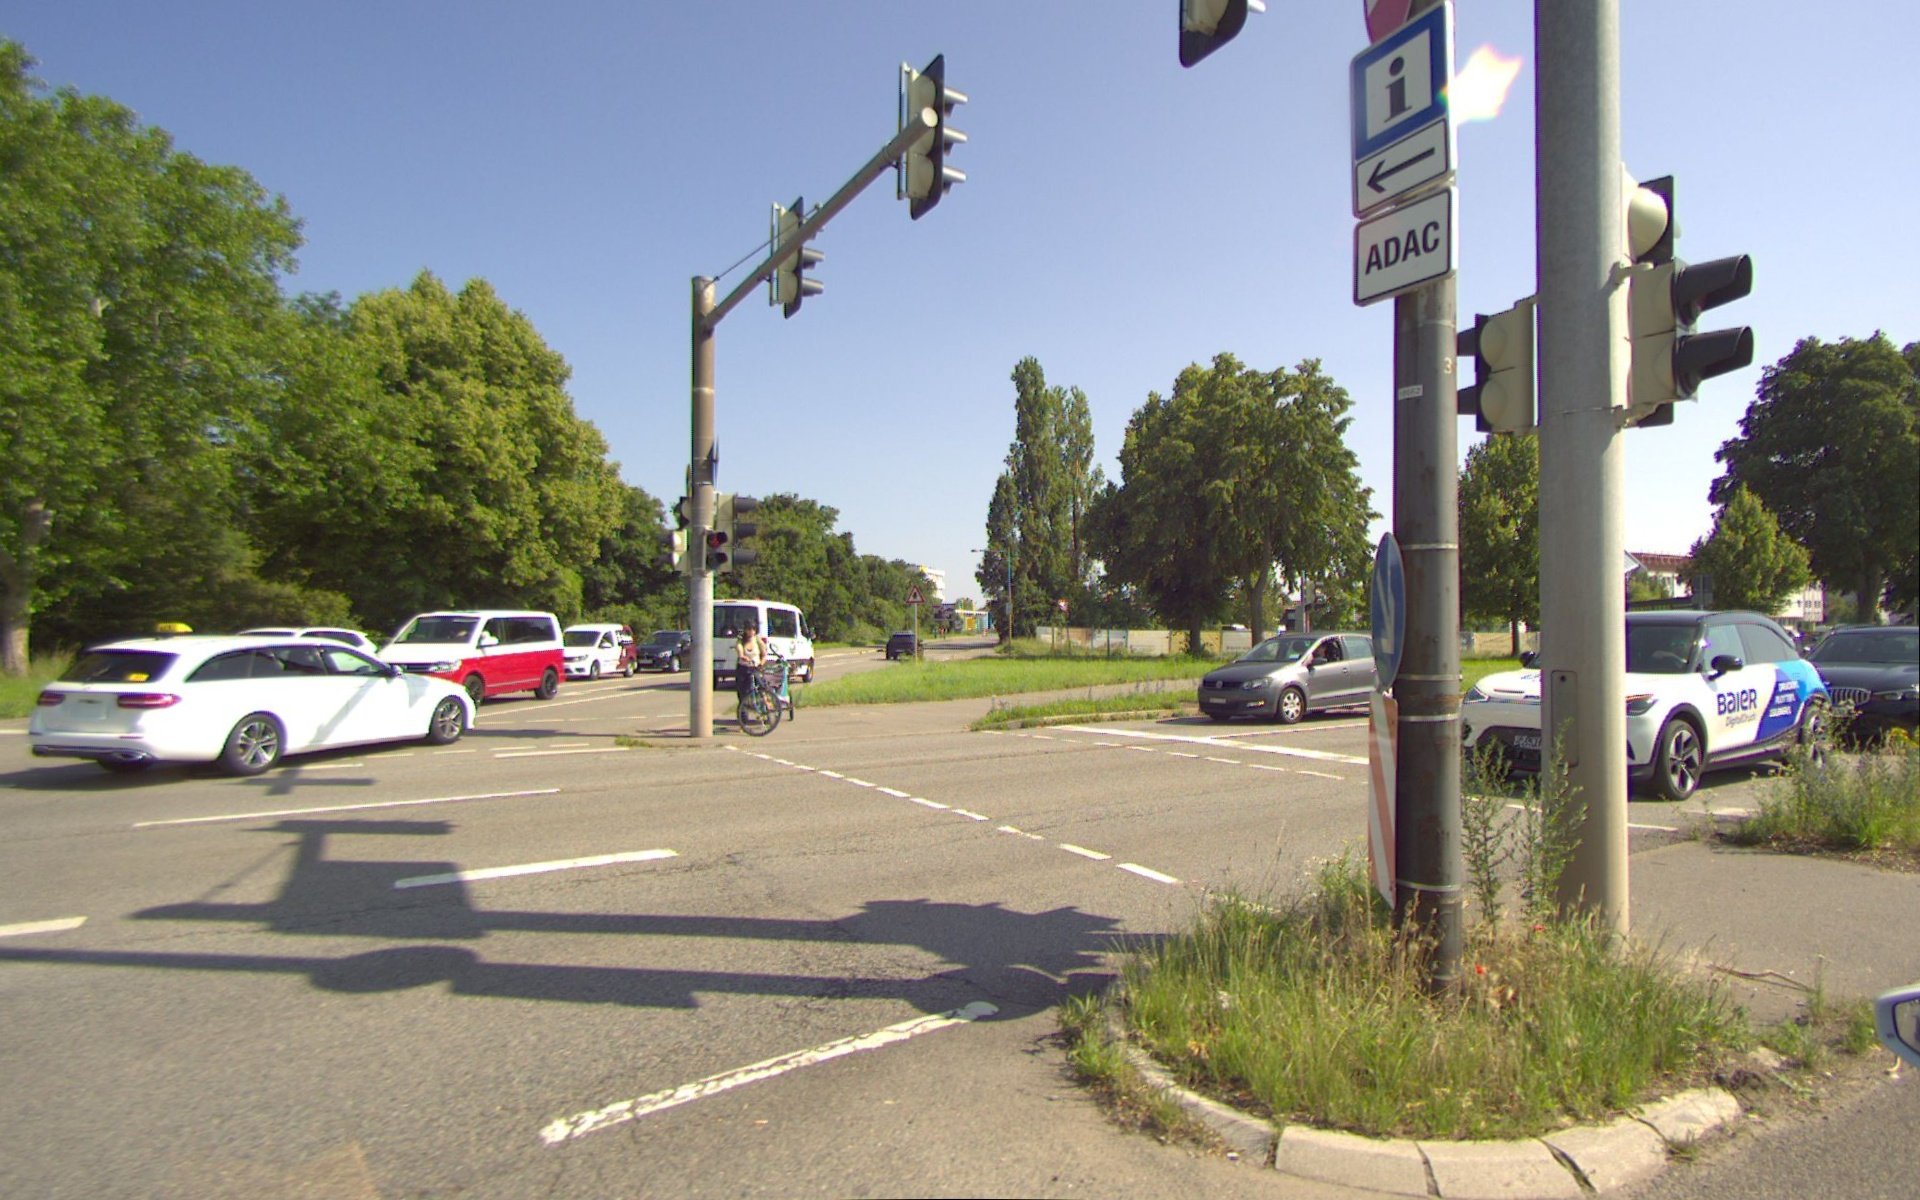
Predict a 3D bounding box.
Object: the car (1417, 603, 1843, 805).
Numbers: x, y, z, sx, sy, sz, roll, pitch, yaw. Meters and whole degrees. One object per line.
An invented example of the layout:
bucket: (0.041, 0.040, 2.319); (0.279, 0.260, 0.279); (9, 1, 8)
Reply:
car: (6.772, 0.902, 10.082); (4.163, 1.631, 2.000); (1, -2, -31)

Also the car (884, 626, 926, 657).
car: (-3.107, 2.348, 57.540); (1.875, 1.671, 4.002); (0, -1, 4)

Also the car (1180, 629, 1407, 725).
car: (5.556, 1.229, 16.655); (3.718, 1.433, 1.479); (1, -4, -31)

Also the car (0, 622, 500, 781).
car: (-7.936, 1.053, 12.030); (1.781, 1.483, 4.975); (-1, -2, 12)

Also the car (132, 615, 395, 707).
car: (-13.544, 1.155, 19.920); (1.964, 1.627, 4.271); (0, -2, 5)

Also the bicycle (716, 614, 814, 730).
bicycle: (-3.063, 1.080, 16.138); (1.114, 1.692, 2.800); (1, -1, -3)

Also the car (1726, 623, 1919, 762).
car: (12.093, 1.063, 13.050); (4.838, 1.505, 1.807); (1, -1, -32)

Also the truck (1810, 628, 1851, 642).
truck: (137.194, 5.471, 158.280); (2.028, 2.040, 4.479); (1, -1, -30)

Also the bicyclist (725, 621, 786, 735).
bicyclist: (-3.074, 1.154, 15.178); (0.743, 1.640, 0.865); (1, 0, -2)

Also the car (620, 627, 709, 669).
car: (-11.341, 1.841, 38.856); (1.881, 1.532, 4.129); (0, -2, 5)

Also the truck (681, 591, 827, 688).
truck: (-5.614, 1.061, 28.381); (2.333, 2.420, 6.044); (0, -1, 6)

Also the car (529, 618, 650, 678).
car: (-12.028, 1.552, 32.992); (1.964, 1.824, 4.510); (0, -2, 5)

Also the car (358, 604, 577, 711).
car: (-10.063, 1.140, 21.013); (1.960, 1.976, 4.659); (0, -2, 5)
